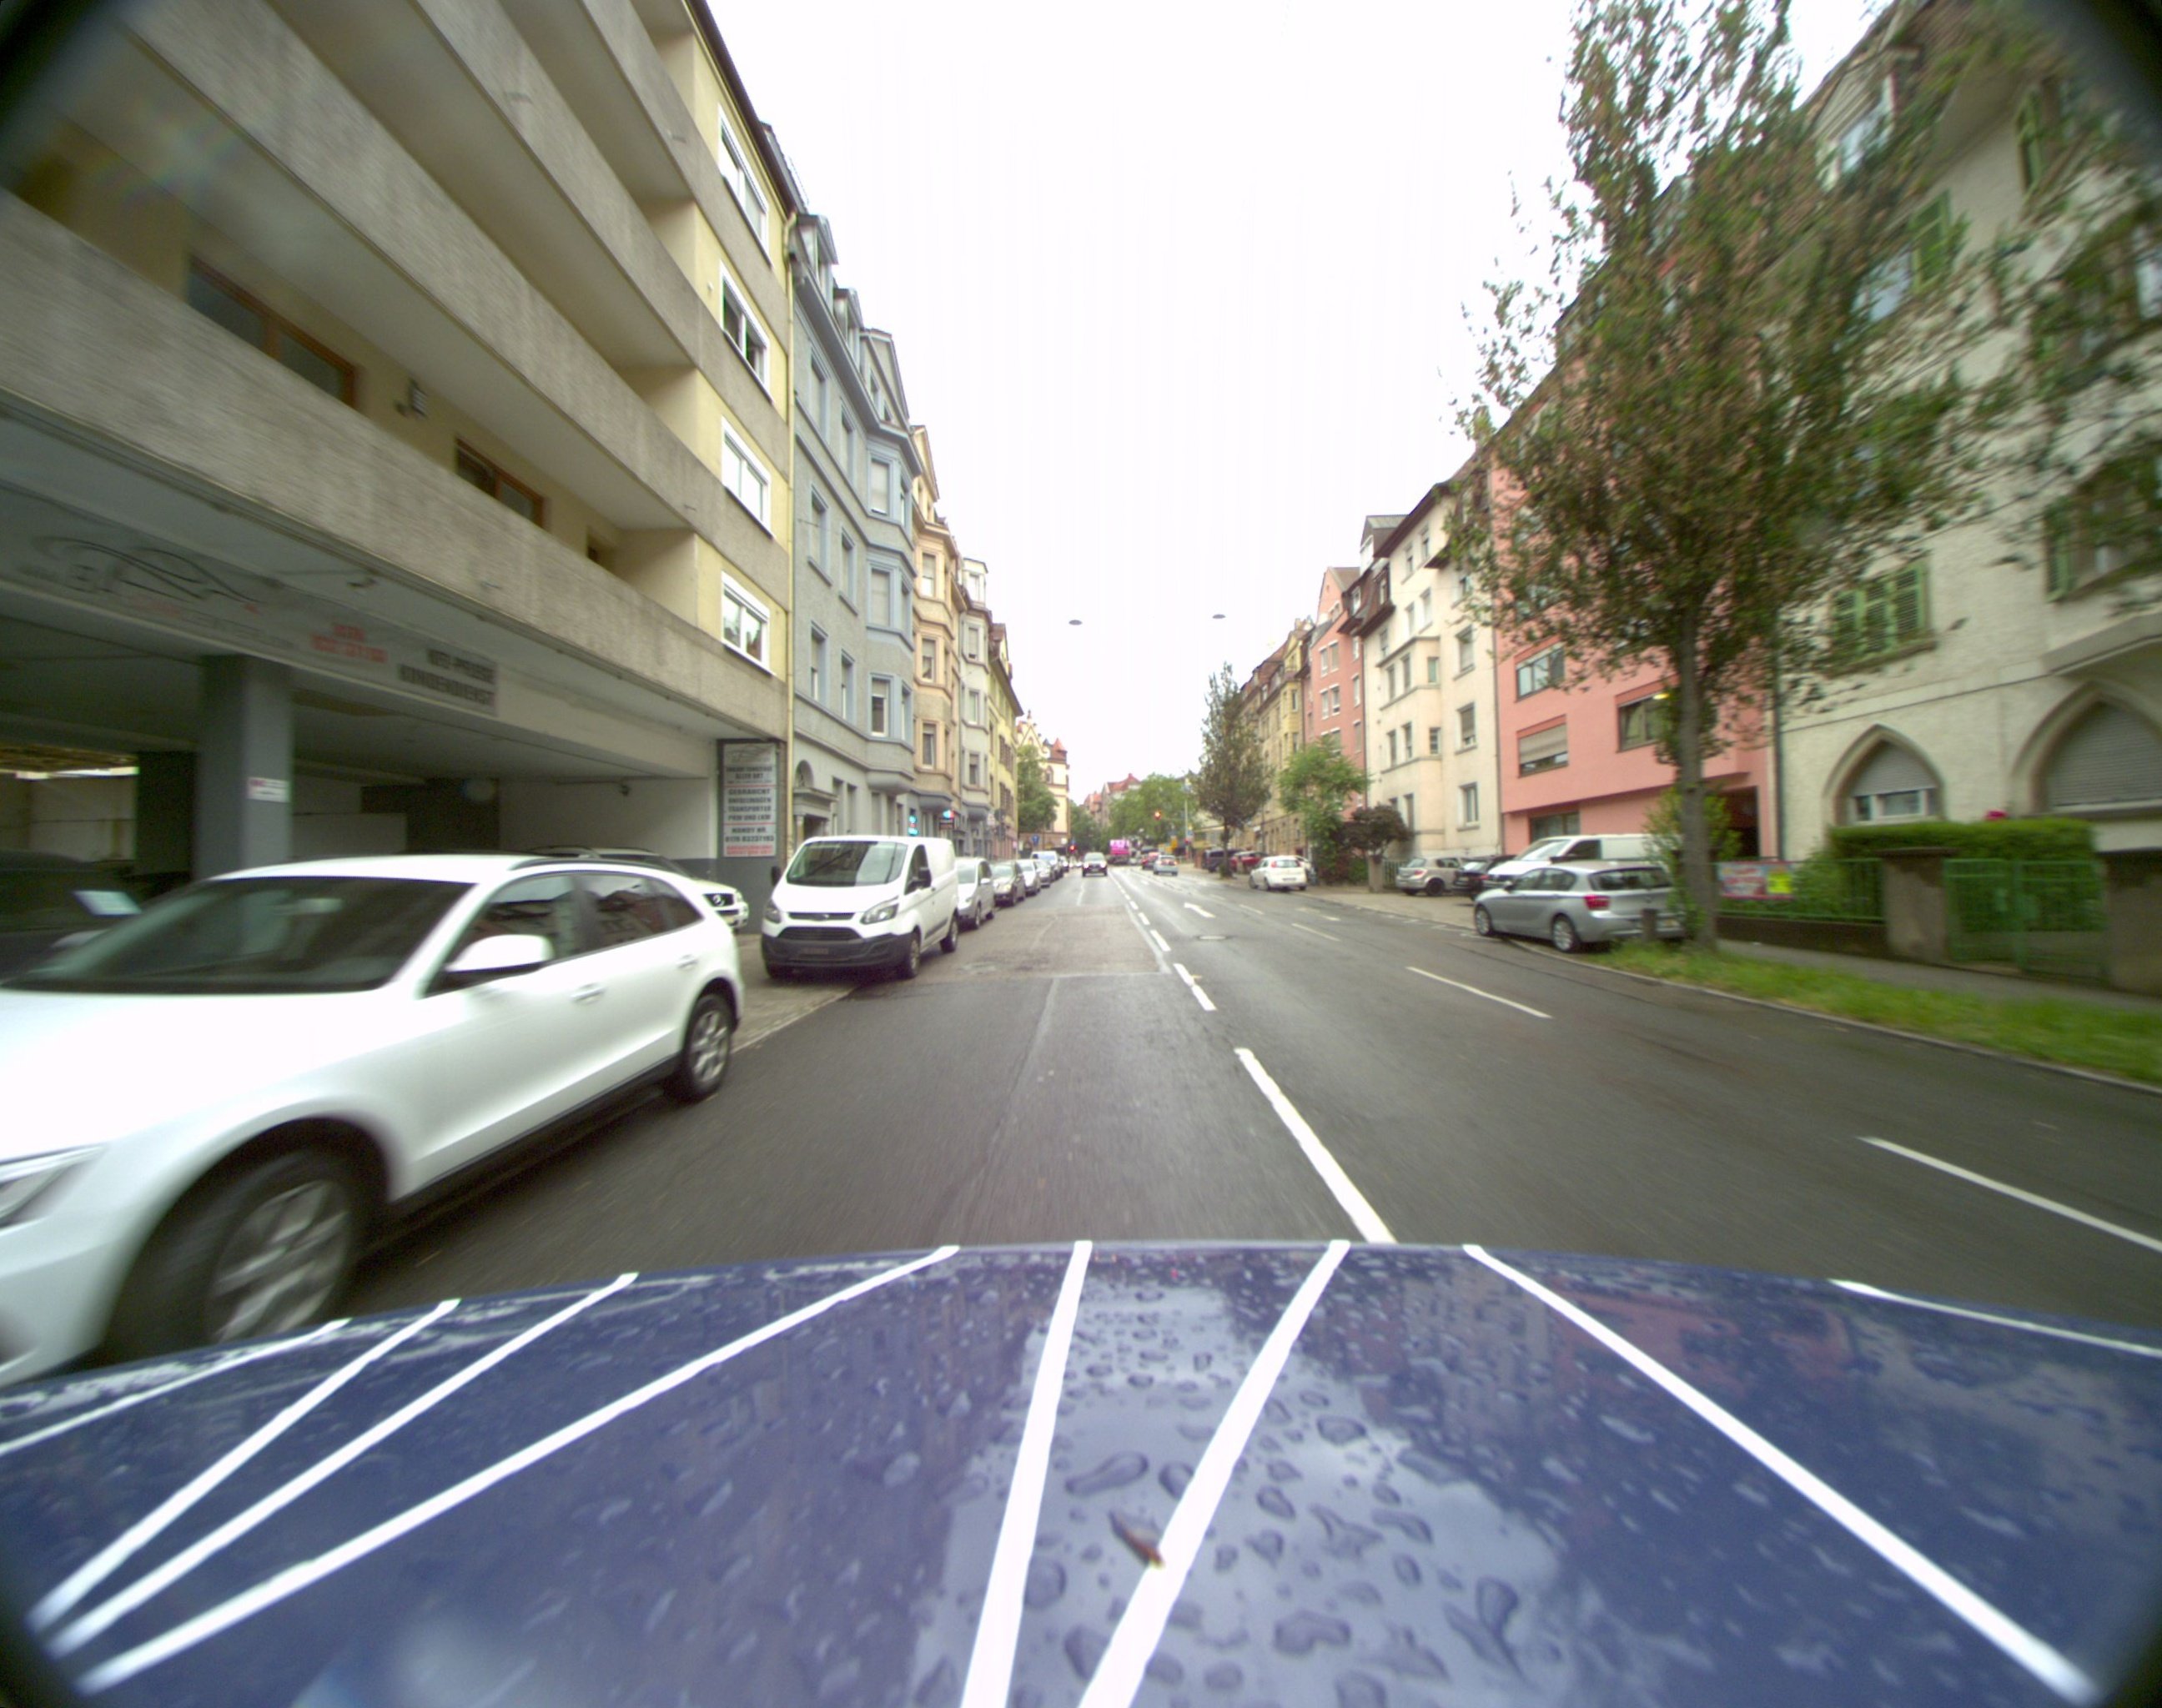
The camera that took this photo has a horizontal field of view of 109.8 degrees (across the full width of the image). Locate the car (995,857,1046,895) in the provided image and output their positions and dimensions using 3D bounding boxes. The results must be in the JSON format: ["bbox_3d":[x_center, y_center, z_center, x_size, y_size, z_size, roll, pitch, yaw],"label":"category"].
[{"bbox_3d":[-2.494,0.884,31.987,1.709,1.434,3.933,-1,0,1],"label":"car"}]

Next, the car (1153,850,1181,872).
[{"bbox_3d":[6.651,0.529,59.000,1.771,1.540,3.652,-3,1,1],"label":"car"}]

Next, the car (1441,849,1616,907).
[{"bbox_3d":[12.618,0.659,21.587,3.929,1.389,1.759,-3,1,-1],"label":"car"}]

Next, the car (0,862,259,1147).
[{"bbox_3d":[-8.109,0.891,5.305,3.948,1.631,1.815,0,0,20],"label":"car"}]

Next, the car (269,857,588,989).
[{"bbox_3d":[-9.604,0.952,11.234,3.992,1.704,1.716,-2,0,18],"label":"car"}]

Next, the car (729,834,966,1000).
[{"bbox_3d":[-3.149,0.731,11.461,1.994,1.944,4.822,1,1,1],"label":"car"}]

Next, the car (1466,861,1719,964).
[{"bbox_3d":[8.513,0.878,13.171,1.685,1.409,4.138,-1,0,1],"label":"car"}]

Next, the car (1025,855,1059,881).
[{"bbox_3d":[-2.226,0.786,44.269,1.709,1.434,3.933,-1,0,1],"label":"car"}]

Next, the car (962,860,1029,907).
[{"bbox_3d":[-2.877,0.954,26.412,1.731,1.434,4.358,-1,0,1],"label":"car"}]

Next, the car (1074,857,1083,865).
[{"bbox_3d":[-0.507,1.232,138.987,1.552,1.386,3.745,-1,0,1],"label":"car"}]

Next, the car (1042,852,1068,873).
[{"bbox_3d":[-1.869,0.589,55.494,1.627,1.498,3.745,-1,0,1],"label":"car"}]

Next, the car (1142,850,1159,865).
[{"bbox_3d":[7.245,0.370,79.422,1.669,1.448,3.653,-3,1,4],"label":"car"}]

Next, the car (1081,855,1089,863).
[{"bbox_3d":[0.777,0.974,150.748,1.552,1.386,3.745,-1,0,1],"label":"car"}]

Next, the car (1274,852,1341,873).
[{"bbox_3d":[14.711,0.544,49.480,3.928,1.289,1.646,-1,1,2],"label":"car"}]

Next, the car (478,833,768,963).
[{"bbox_3d":[-8.063,0.725,13.445,4.454,2.001,2.003,-1,0,20],"label":"car"}]

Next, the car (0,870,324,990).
[{"bbox_3d":[-13.272,1.029,10.796,3.415,1.456,1.662,-2,1,4],"label":"car"}]

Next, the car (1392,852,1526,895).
[{"bbox_3d":[13.282,0.664,26.825,3.931,1.389,1.724,-1,1,-5],"label":"car"}]

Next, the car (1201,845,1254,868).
[{"bbox_3d":[12.055,0.193,62.731,3.929,1.836,1.867,-1,1,-1],"label":"car"}]

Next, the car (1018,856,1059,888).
[{"bbox_3d":[-2.113,0.862,38.825,1.709,1.389,3.933,-4,0,1],"label":"car"}]

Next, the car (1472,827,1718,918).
[{"bbox_3d":[12.477,0.419,18.652,4.731,1.894,1.918,-3,1,-1],"label":"car"}]

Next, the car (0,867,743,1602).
[{"bbox_3d":[-3.401,0.935,3.473,1.750,1.630,4.273,-1,0,1],"label":"car"}]

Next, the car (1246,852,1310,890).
[{"bbox_3d":[8.617,0.704,33.469,1.670,1.464,3.651,-3,1,-3],"label":"car"}]

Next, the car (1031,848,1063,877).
[{"bbox_3d":[-2.195,0.537,50.245,1.826,1.808,4.520,-1,0,1],"label":"car"}]

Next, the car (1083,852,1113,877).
[{"bbox_3d":[1.190,0.733,54.658,1.889,1.543,3.999,-4,1,-1],"label":"car"}]

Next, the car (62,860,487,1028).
[{"bbox_3d":[-9.244,0.881,8.772,3.991,1.574,1.815,0,0,18],"label":"car"}]

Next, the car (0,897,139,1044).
[{"bbox_3d":[-12.632,1.254,7.730,3.423,1.424,1.659,-1,0,-26],"label":"car"}]

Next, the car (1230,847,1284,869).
[{"bbox_3d":[13.966,0.300,60.467,3.928,1.613,1.592,-1,1,2],"label":"car"}]

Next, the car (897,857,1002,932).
[{"bbox_3d":[-3.070,0.882,18.587,1.731,1.588,4.311,0,1,1],"label":"car"}]
